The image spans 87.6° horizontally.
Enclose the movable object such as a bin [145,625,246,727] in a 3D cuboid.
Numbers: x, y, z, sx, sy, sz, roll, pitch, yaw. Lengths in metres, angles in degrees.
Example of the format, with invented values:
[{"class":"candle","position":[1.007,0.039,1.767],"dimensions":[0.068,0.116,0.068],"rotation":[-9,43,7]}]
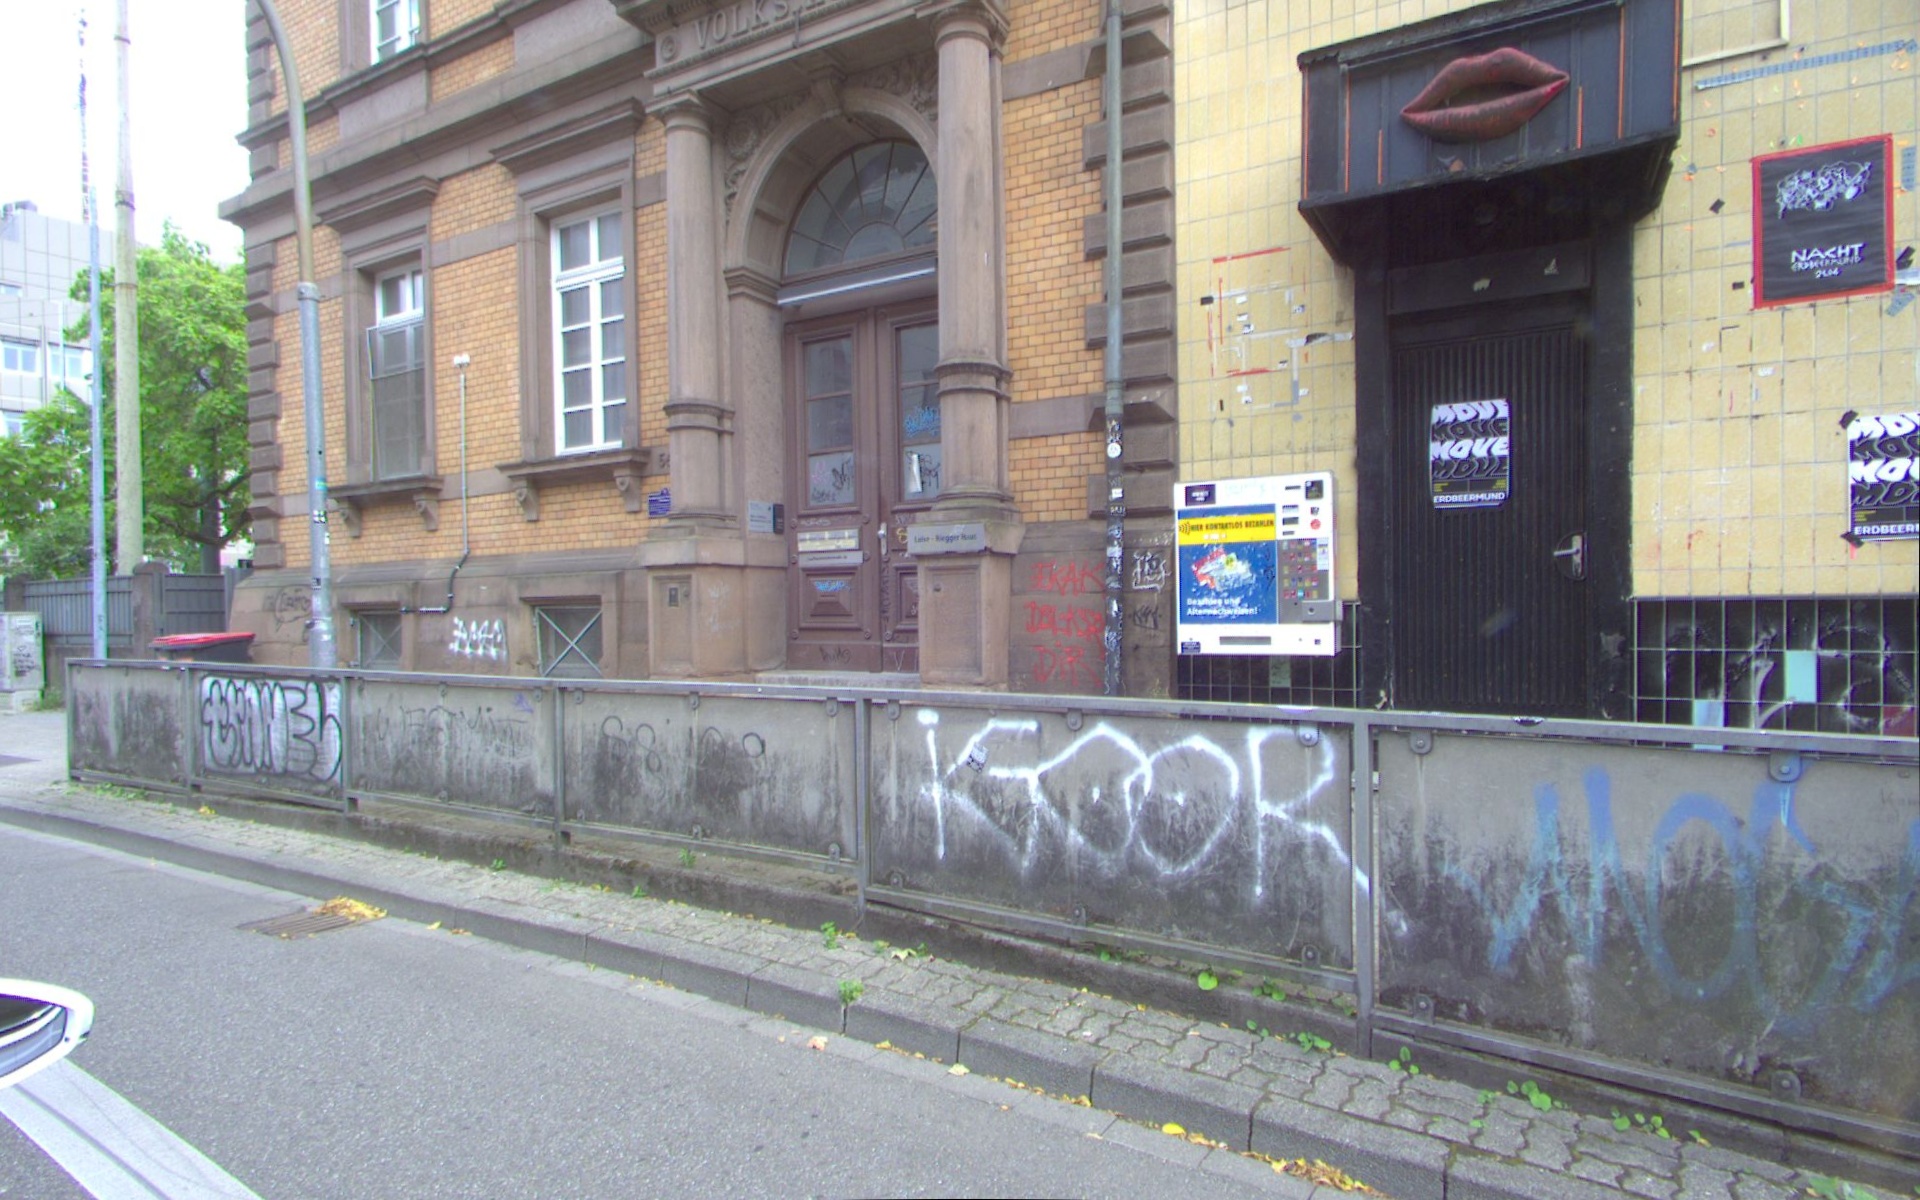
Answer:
[{"class":"movable object such as a bin","position":[-8.898,0.868,11.665],"dimensions":[0.667,1.097,0.650],"rotation":[-1,4,27]}]

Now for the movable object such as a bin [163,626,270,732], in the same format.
[{"class":"movable object such as a bin","position":[-8.334,0.864,11.236],"dimensions":[0.690,1.097,0.662],"rotation":[-1,4,27]}]
